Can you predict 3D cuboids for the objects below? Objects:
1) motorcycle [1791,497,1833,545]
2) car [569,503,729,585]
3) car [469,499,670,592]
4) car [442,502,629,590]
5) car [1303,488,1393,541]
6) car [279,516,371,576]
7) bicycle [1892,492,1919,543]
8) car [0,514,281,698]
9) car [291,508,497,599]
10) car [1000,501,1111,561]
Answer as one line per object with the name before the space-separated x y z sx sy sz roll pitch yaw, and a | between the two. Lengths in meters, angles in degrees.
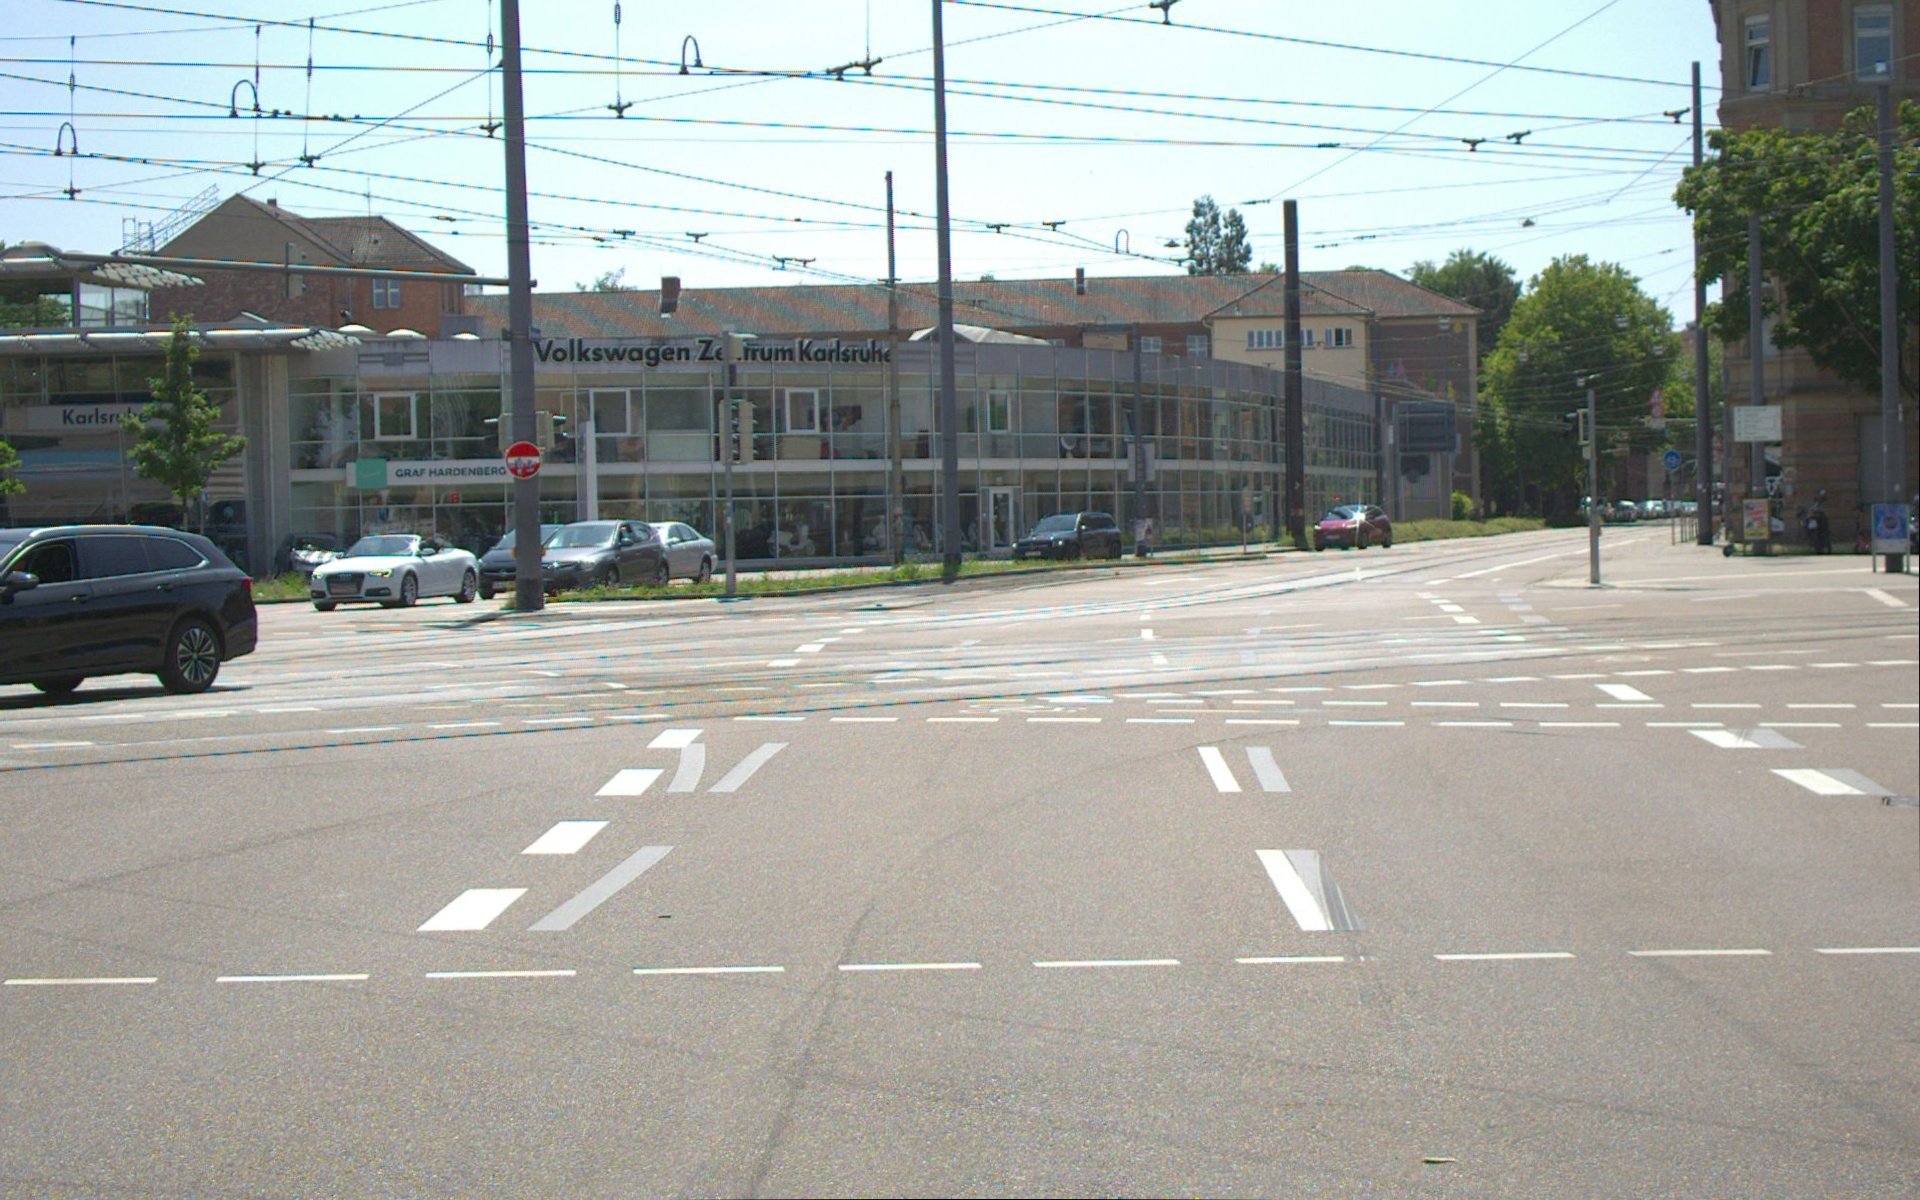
motorcycle | 19.609 -1.817 79.155 0.580 1.071 1.946 -1 1 3
car | -6.903 -1.271 76.896 1.995 1.733 4.540 -1 2 17
car | -7.273 -1.046 64.558 1.995 1.631 4.843 -1 2 17
car | -8.626 -1.125 70.386 1.995 1.694 4.843 -1 2 17
car | 13.697 -2.998 121.183 1.996 1.769 3.995 1 1 24
car | -18.471 -1.561 100.097 1.920 1.701 4.000 1 1 0
bicycle | 21.957 -1.894 79.500 0.442 1.142 2.093 1 1 6
car | -8.221 0.041 29.053 1.997 1.460 4.837 0 2 34
car | -10.521 -0.898 64.248 2.078 1.574 4.844 -1 2 13
car | 2.844 -2.060 101.399 2.080 1.677 4.843 -1 2 17
